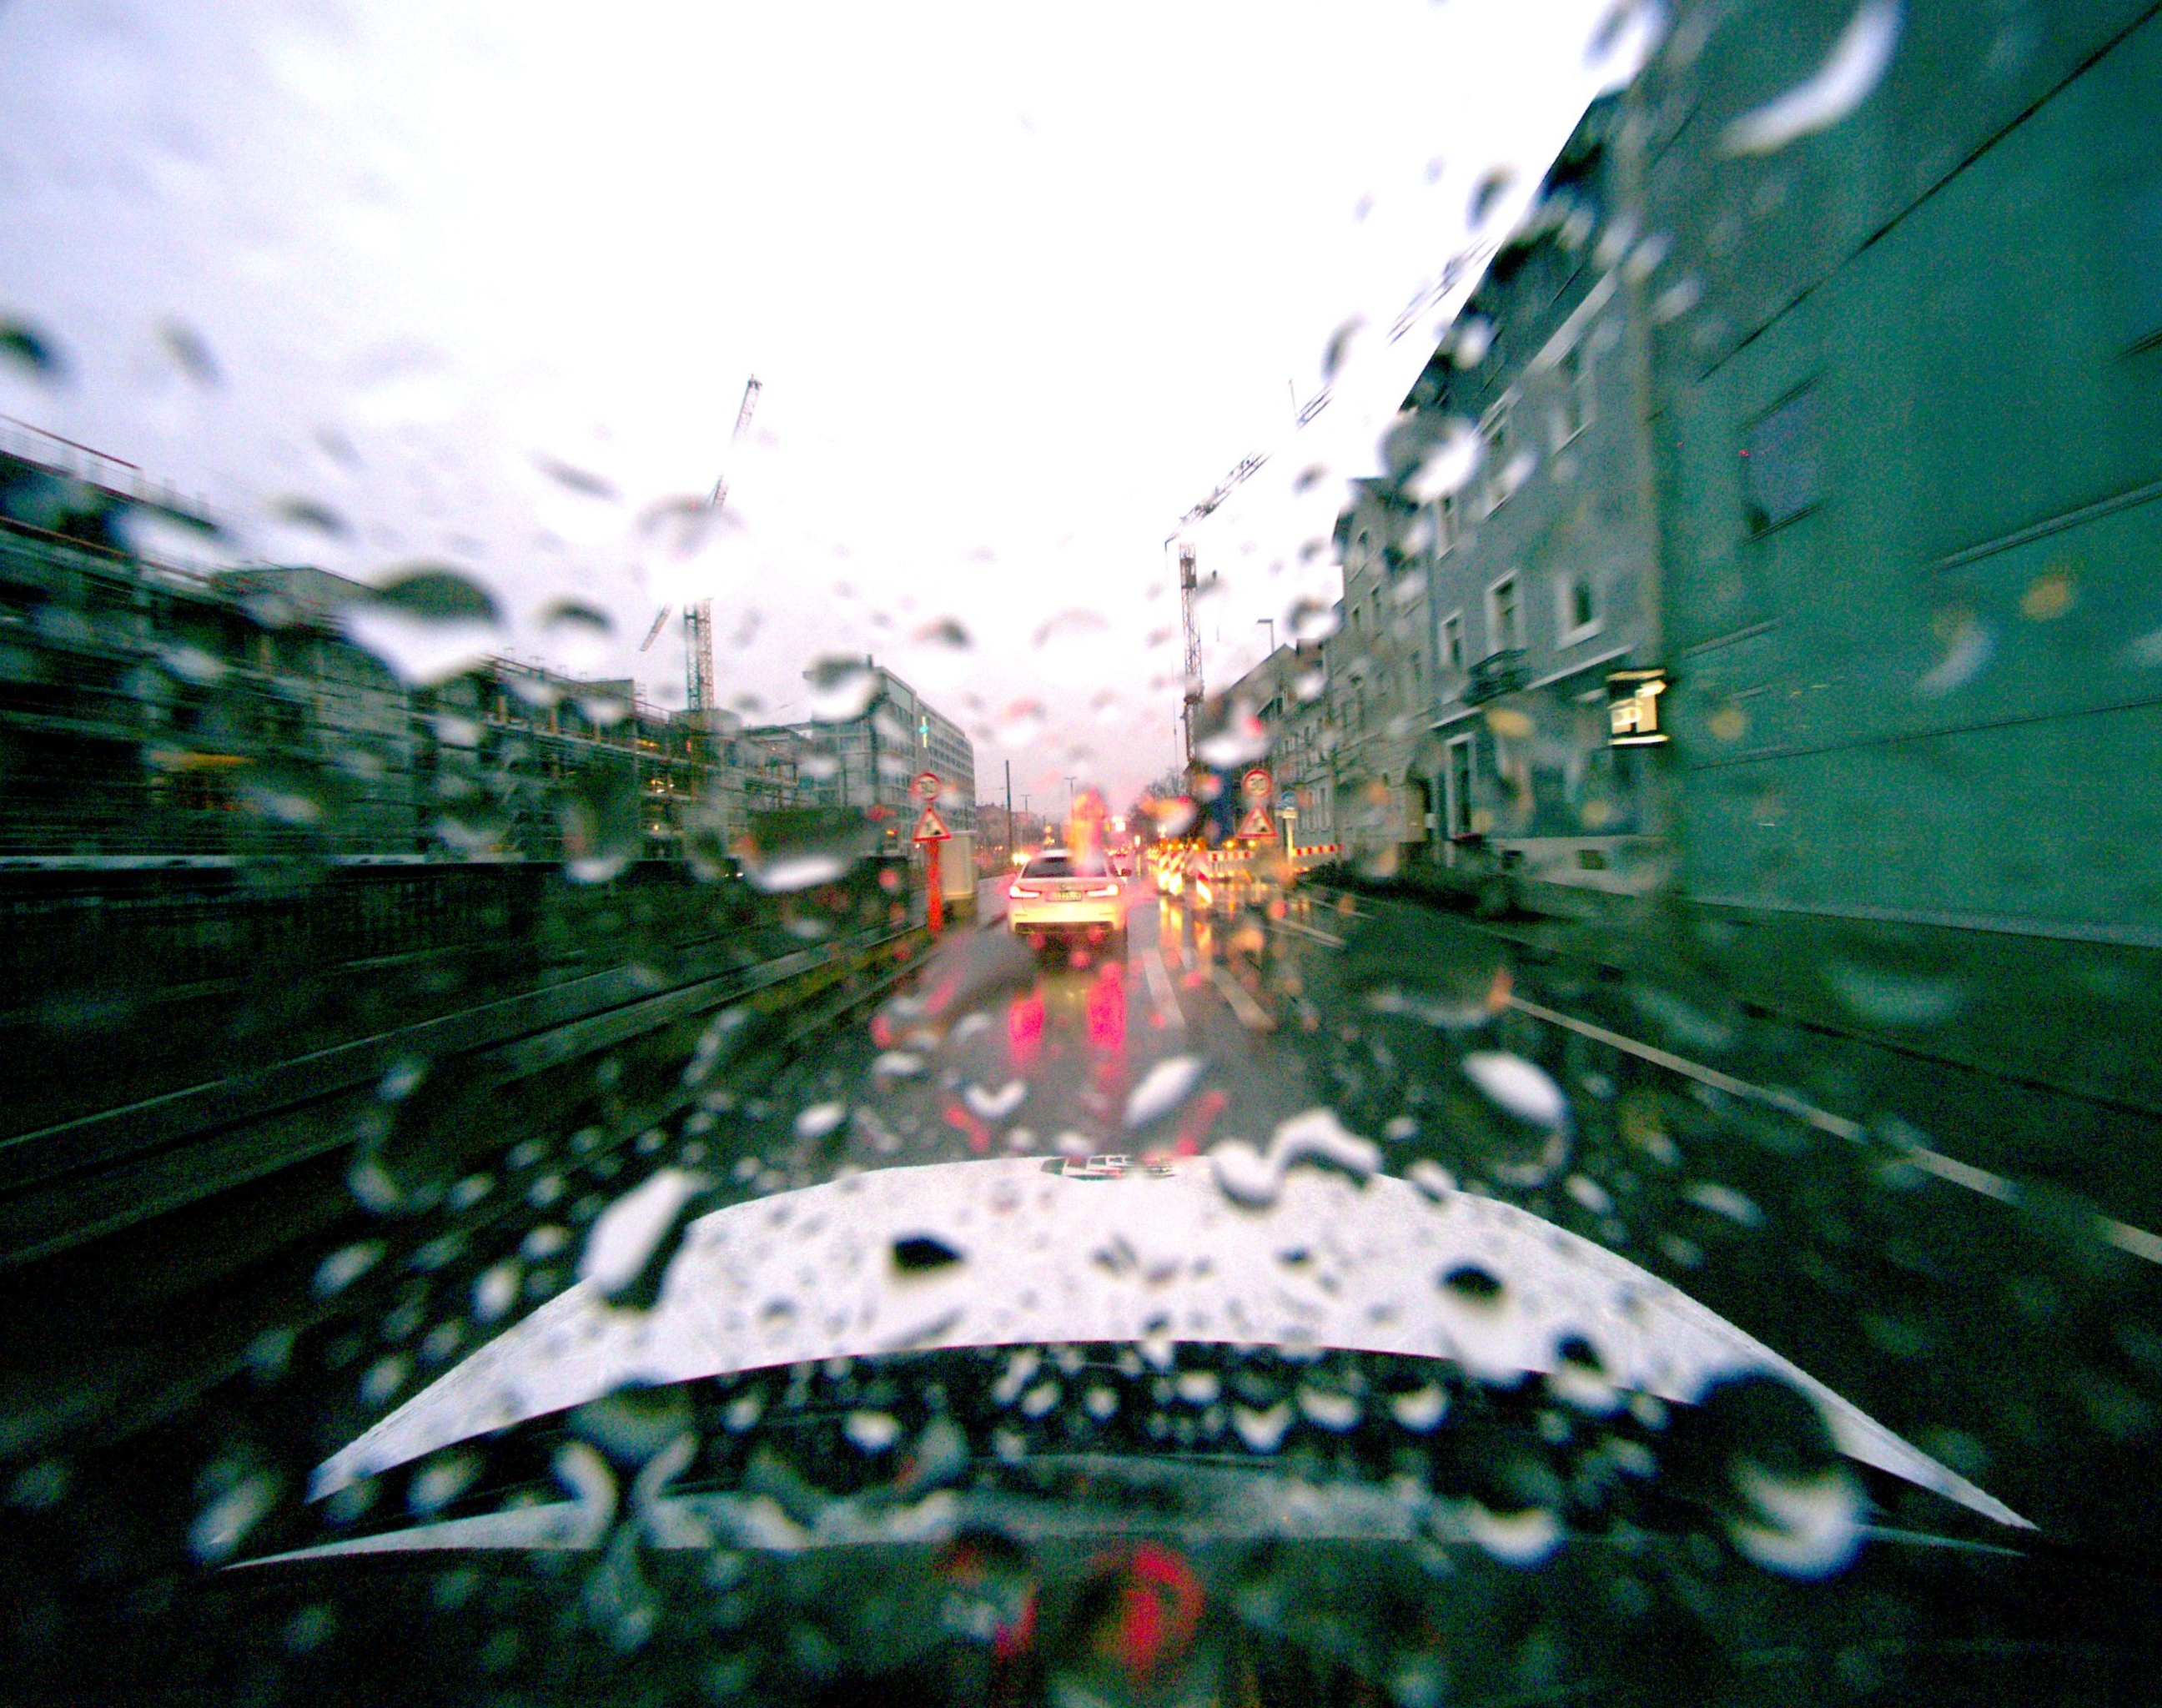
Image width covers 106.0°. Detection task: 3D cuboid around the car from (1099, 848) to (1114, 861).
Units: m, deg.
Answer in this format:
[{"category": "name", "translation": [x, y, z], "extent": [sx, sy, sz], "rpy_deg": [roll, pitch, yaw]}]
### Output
[{"category": "car", "translation": [3.428, 0.020, 110.526], "extent": [1.893, 1.641, 4.003], "rpy_deg": [-2, 0, 3]}]

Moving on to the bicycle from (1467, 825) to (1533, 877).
[{"category": "bicycle", "translation": [10.827, -0.070, 21.114], "extent": [0.680, 1.222, 1.906], "rpy_deg": [-5, 0, 2]}]

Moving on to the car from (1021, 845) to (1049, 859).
[{"category": "car", "translation": [-7.261, -0.342, 127.989], "extent": [3.995, 1.975, 1.989], "rpy_deg": [-2, 0, -16]}]

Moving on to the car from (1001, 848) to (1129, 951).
[{"category": "car", "translation": [-0.130, 0.656, 14.410], "extent": [1.845, 1.465, 4.950], "rpy_deg": [-2, 0, 2]}]
